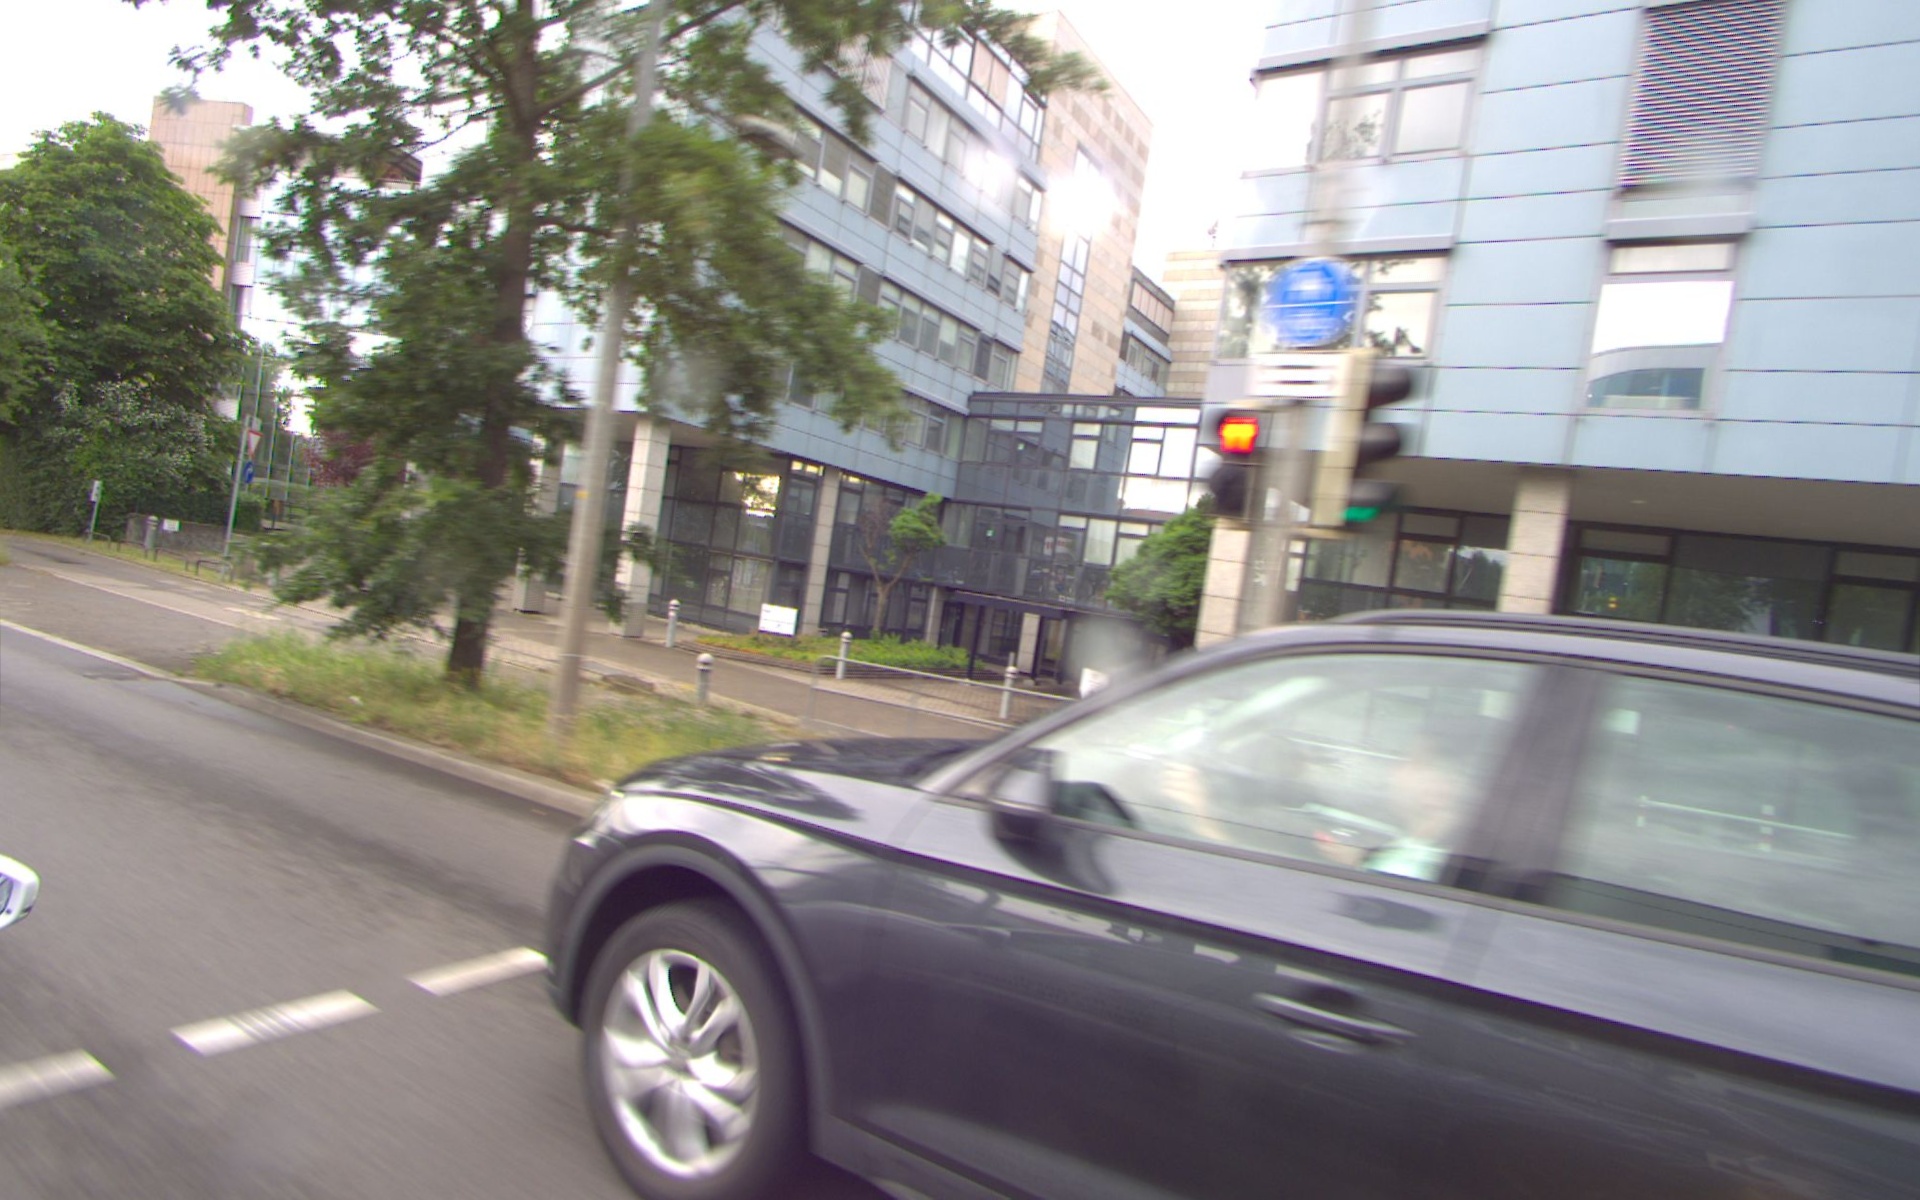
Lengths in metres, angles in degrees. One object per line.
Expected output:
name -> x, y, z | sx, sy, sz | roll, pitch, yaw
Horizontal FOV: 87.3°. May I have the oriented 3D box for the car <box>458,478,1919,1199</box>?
car -> 0.983, 0.803, 2.435 | 4.298, 1.690, 1.814 | 7, -1, 32
